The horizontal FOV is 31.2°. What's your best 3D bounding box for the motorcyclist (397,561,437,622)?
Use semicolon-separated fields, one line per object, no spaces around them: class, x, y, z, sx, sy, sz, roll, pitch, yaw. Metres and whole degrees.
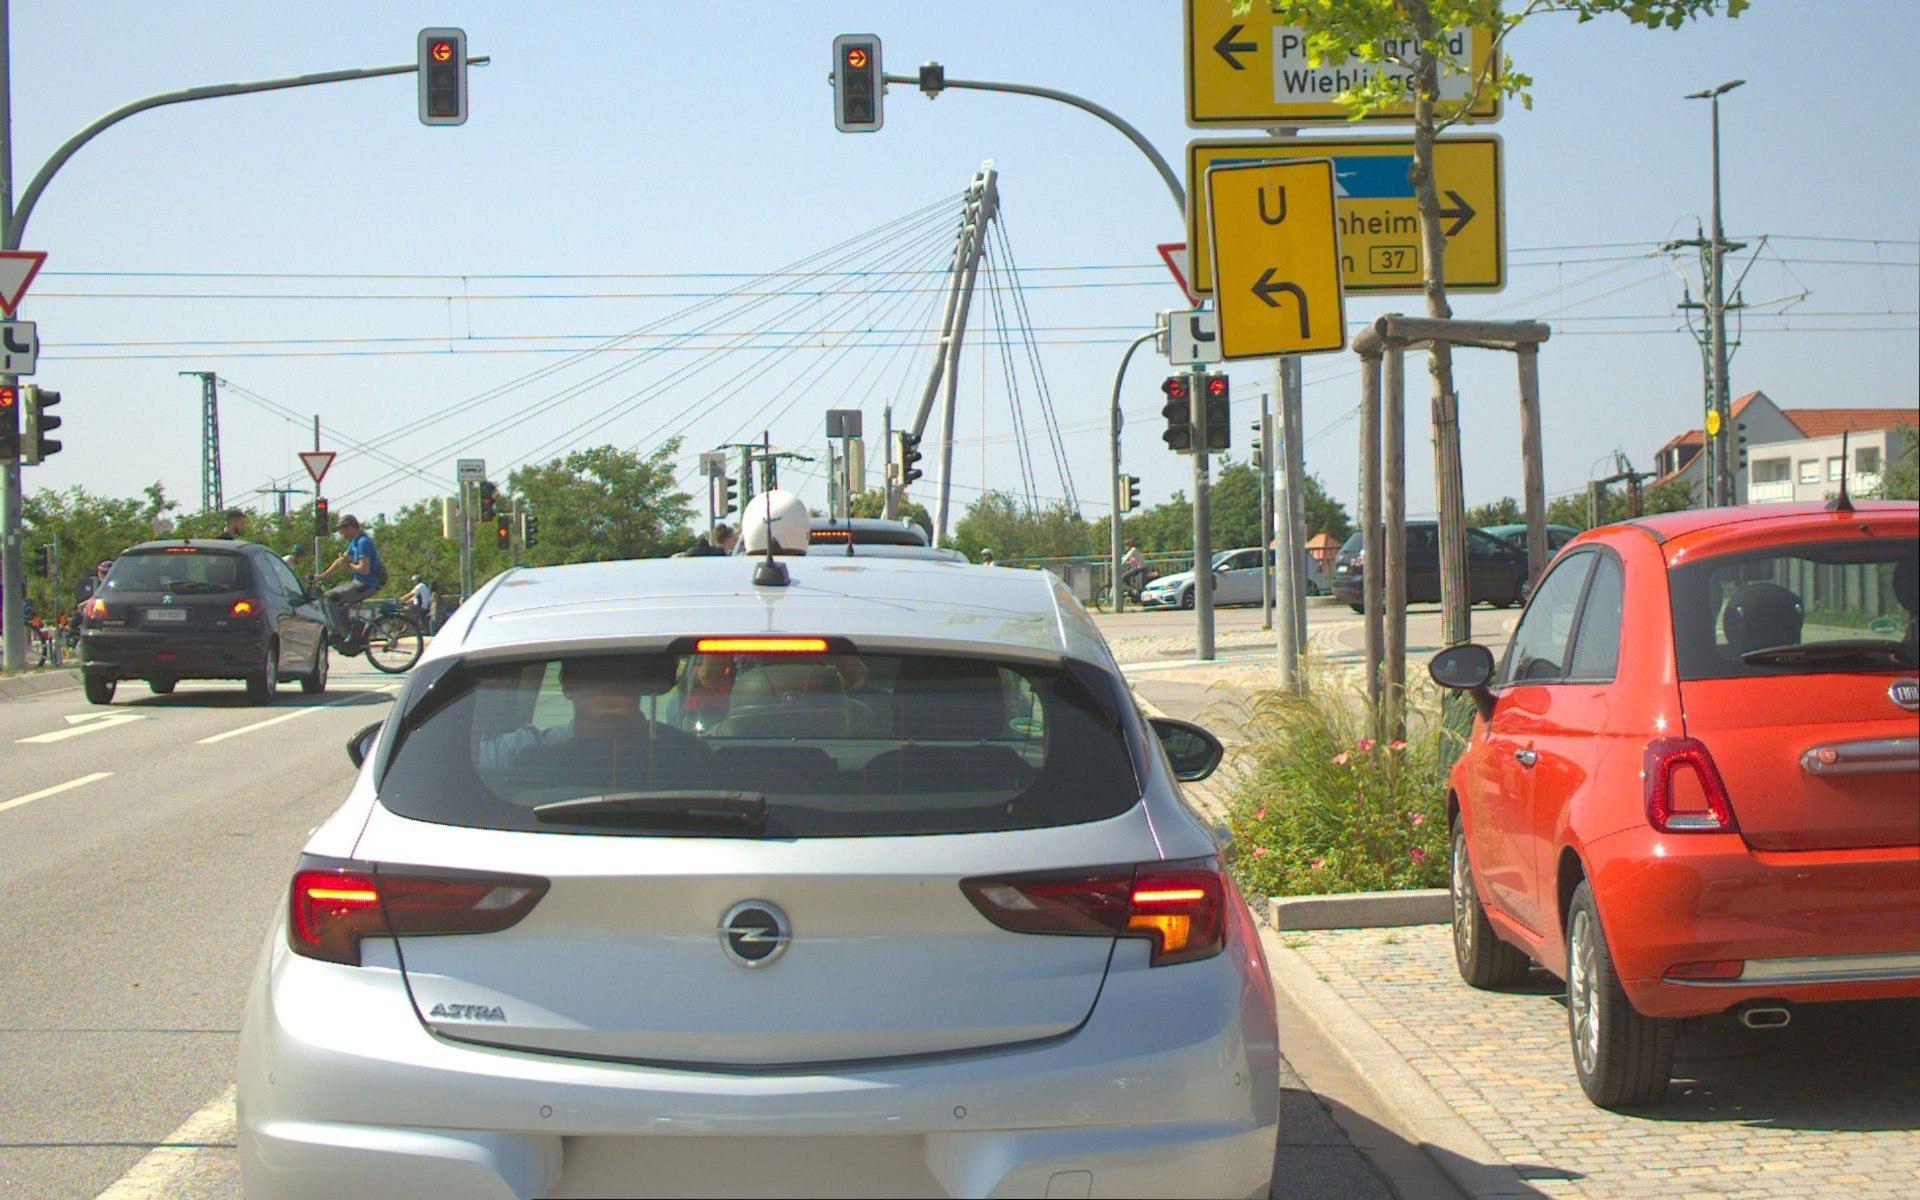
motorcyclist;-13.178;-0.209;83.425;0.809;1.471;0.885;1;0;-1

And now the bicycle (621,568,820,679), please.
bicycle;-2.569;0.247;36.970;2.081;1.174;0.555;0;0;1

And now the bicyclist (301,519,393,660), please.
bicyclist;-6.890;-0.123;38.682;0.822;1.554;0.863;1;0;2

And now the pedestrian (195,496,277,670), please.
pedestrian;-7.848;-0.181;37.267;0.740;1.857;0.754;1;0;-4

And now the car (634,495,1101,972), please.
car;-0.372;0.471;14.153;1.634;1.668;3.745;1;0;-1

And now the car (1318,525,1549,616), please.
car;8.353;-0.520;60.833;3.747;1.578;1.814;0;0;-4

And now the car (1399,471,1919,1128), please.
car;2.364;0.448;10.131;1.669;1.534;3.916;-2;0;1

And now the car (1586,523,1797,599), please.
car;16.610;-0.869;78.104;4.244;1.668;2.001;0;0;-18

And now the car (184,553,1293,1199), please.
car;-0.383;0.661;7.398;1.690;1.514;4.271;0;1;-1

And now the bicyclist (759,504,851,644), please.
bicyclist;-1.765;-0.291;39.263;0.945;1.563;0.822;1;0;4

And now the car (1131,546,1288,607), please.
car;5.627;-0.533;77.518;3.211;1.300;1.524;1;0;-12

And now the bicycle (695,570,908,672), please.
bicycle;-1.807;0.236;39.303;2.358;1.123;0.677;1;0;3

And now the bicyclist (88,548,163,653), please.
bicyclist;-9.521;0.004;39.229;0.657;1.171;0.731;1;0;1

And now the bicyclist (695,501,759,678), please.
bicyclist;-2.504;-0.110;36.975;0.594;1.881;0.636;1;0;1

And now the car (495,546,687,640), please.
car;-8.182;-0.155;76.479;3.987;2.007;2.000;1;0;1

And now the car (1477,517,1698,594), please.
car;11.775;-0.845;64.577;3.789;1.357;1.533;-1;1;-6

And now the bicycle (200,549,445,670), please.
bicycle;-7.168;0.100;38.695;2.524;1.130;0.728;-5;3;3

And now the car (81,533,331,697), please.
car;-6.751;0.120;31.070;1.587;1.390;3.340;0;0;-1

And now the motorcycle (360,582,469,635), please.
motorcycle;-13.223;0.200;83.402;2.536;1.229;0.648;1;0;-1

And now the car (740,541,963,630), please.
car;-1.946;-0.261;62.677;3.974;1.546;1.676;-1;0;1

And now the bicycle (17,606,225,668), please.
bicycle;-9.568;0.422;39.235;2.246;0.690;0.516;0;0;0

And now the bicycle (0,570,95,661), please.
bicycle;-10.989;0.172;38.376;2.504;1.004;0.605;0;0;0

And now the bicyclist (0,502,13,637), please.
bicyclist;-11.024;-0.345;38.367;0.657;1.497;0.844;1;0;1
